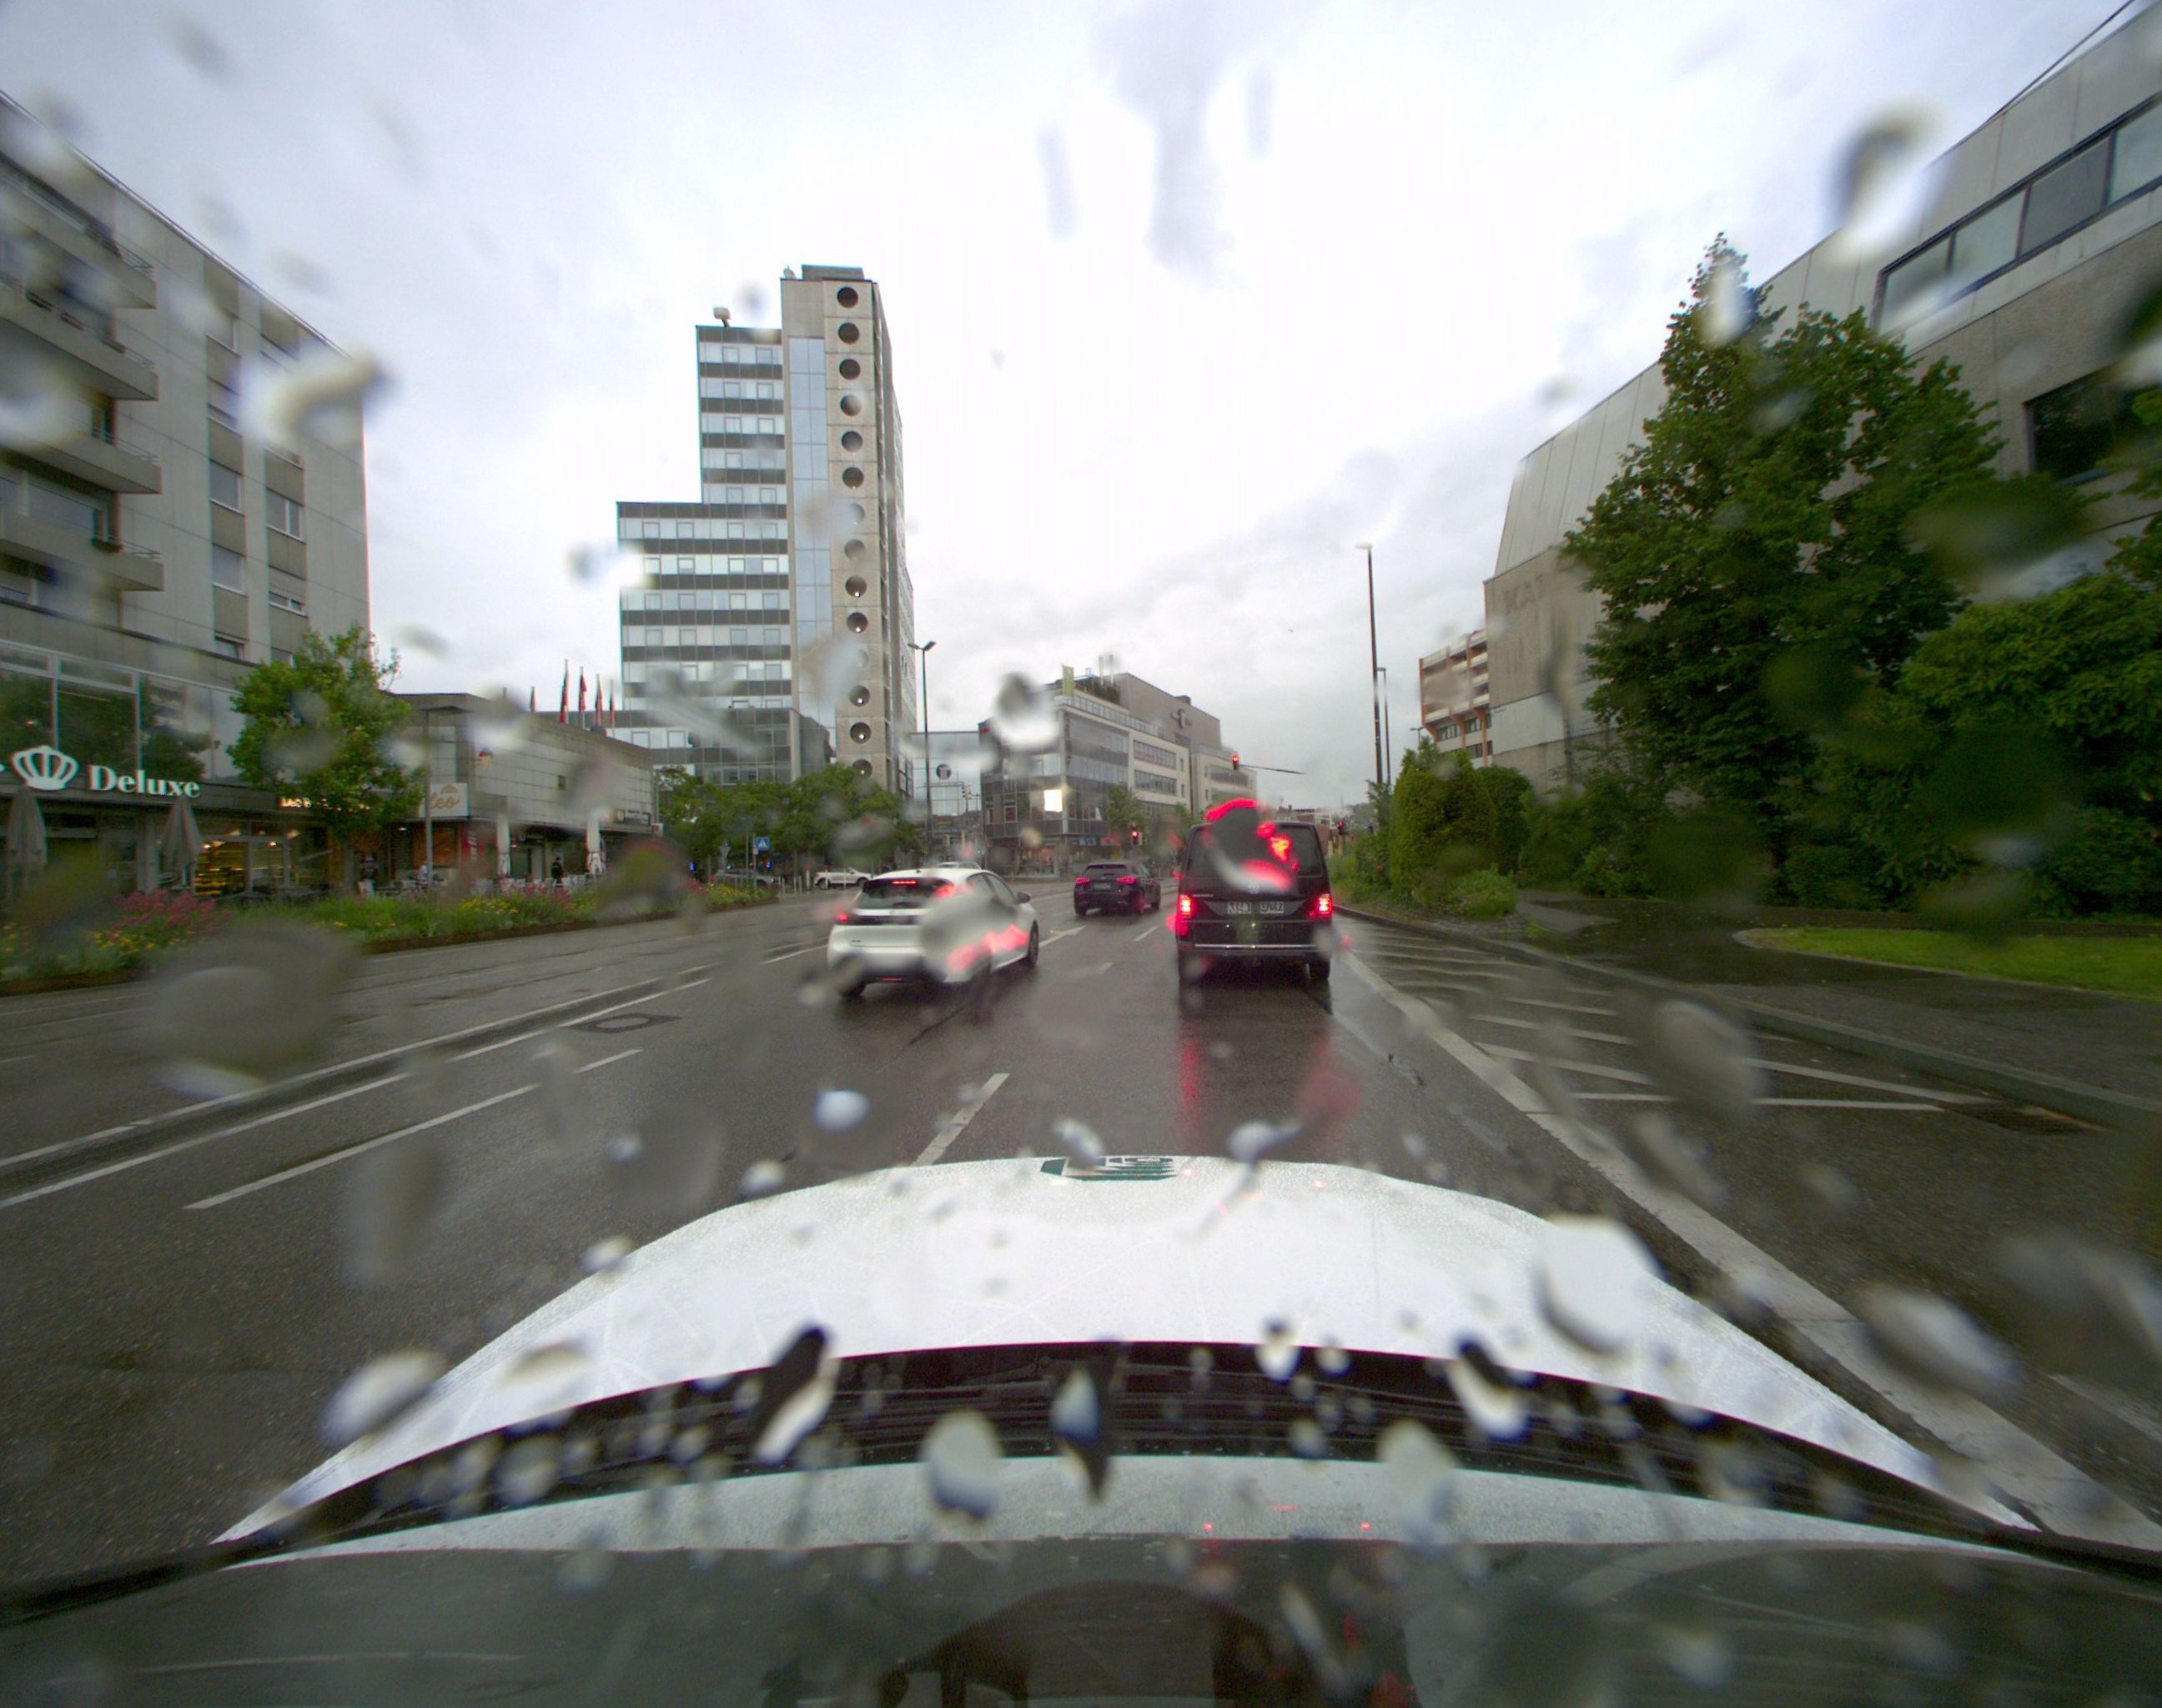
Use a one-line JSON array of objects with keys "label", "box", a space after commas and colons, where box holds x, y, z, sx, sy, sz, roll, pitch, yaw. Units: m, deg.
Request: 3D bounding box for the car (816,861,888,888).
[{"label": "car", "box": [-15.251, 1.350, 54.390, 4.180, 1.595, 1.869, -1, 0, -1]}]

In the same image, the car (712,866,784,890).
[{"label": "car", "box": [-22.274, 1.586, 54.549, 4.031, 1.420, 1.870, -2, 0, 1]}]

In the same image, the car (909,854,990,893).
[{"label": "car", "box": [-6.054, 0.888, 38.084, 1.871, 1.682, 4.526, -1, 0, 17]}]

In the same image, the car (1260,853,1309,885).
[{"label": "car", "box": [9.519, 0.696, 37.923, 1.896, 1.400, 3.473, -2, -1, 18]}]

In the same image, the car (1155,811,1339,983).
[{"label": "car", "box": [2.259, 0.510, 11.411, 1.983, 1.894, 4.600, -1, -1, 10]}]

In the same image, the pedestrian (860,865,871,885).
[{"label": "pedestrian", "box": [-20.671, 1.967, 77.962, 0.756, 1.868, 0.825, -2, -1, -33]}]

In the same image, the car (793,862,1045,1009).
[{"label": "car", "box": [-1.781, 0.867, 10.341, 1.861, 1.462, 3.883, -1, 0, 9]}]

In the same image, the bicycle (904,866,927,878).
[{"label": "bicycle", "box": [-17.271, 1.875, 85.252, 2.271, 1.247, 0.675, -2, -1, -7]}]

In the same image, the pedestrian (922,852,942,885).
[{"label": "pedestrian", "box": [-9.435, 0.901, 51.412, 1.163, 2.013, 1.323, -2, 0, -12]}]

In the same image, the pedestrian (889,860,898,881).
[{"label": "pedestrian", "box": [-18.245, 1.600, 79.086, 0.764, 2.014, 0.711, -2, -1, -15]}]

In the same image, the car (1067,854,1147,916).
[{"label": "car", "box": [0.801, 0.780, 22.556, 1.805, 1.529, 3.821, -1, 0, 8]}]

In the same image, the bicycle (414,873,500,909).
[{"label": "bicycle", "box": [-22.814, 1.355, 29.809, 2.538, 1.223, 0.696, -1, 0, -2]}]

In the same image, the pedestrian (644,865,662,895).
[{"label": "pedestrian", "box": [-19.743, 1.206, 37.546, 0.491, 1.348, 0.540, -2, -1, 31]}]

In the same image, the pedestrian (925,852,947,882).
[{"label": "pedestrian", "box": [-9.185, 0.818, 51.476, 0.837, 1.819, 1.030, -3, -1, 26]}]
